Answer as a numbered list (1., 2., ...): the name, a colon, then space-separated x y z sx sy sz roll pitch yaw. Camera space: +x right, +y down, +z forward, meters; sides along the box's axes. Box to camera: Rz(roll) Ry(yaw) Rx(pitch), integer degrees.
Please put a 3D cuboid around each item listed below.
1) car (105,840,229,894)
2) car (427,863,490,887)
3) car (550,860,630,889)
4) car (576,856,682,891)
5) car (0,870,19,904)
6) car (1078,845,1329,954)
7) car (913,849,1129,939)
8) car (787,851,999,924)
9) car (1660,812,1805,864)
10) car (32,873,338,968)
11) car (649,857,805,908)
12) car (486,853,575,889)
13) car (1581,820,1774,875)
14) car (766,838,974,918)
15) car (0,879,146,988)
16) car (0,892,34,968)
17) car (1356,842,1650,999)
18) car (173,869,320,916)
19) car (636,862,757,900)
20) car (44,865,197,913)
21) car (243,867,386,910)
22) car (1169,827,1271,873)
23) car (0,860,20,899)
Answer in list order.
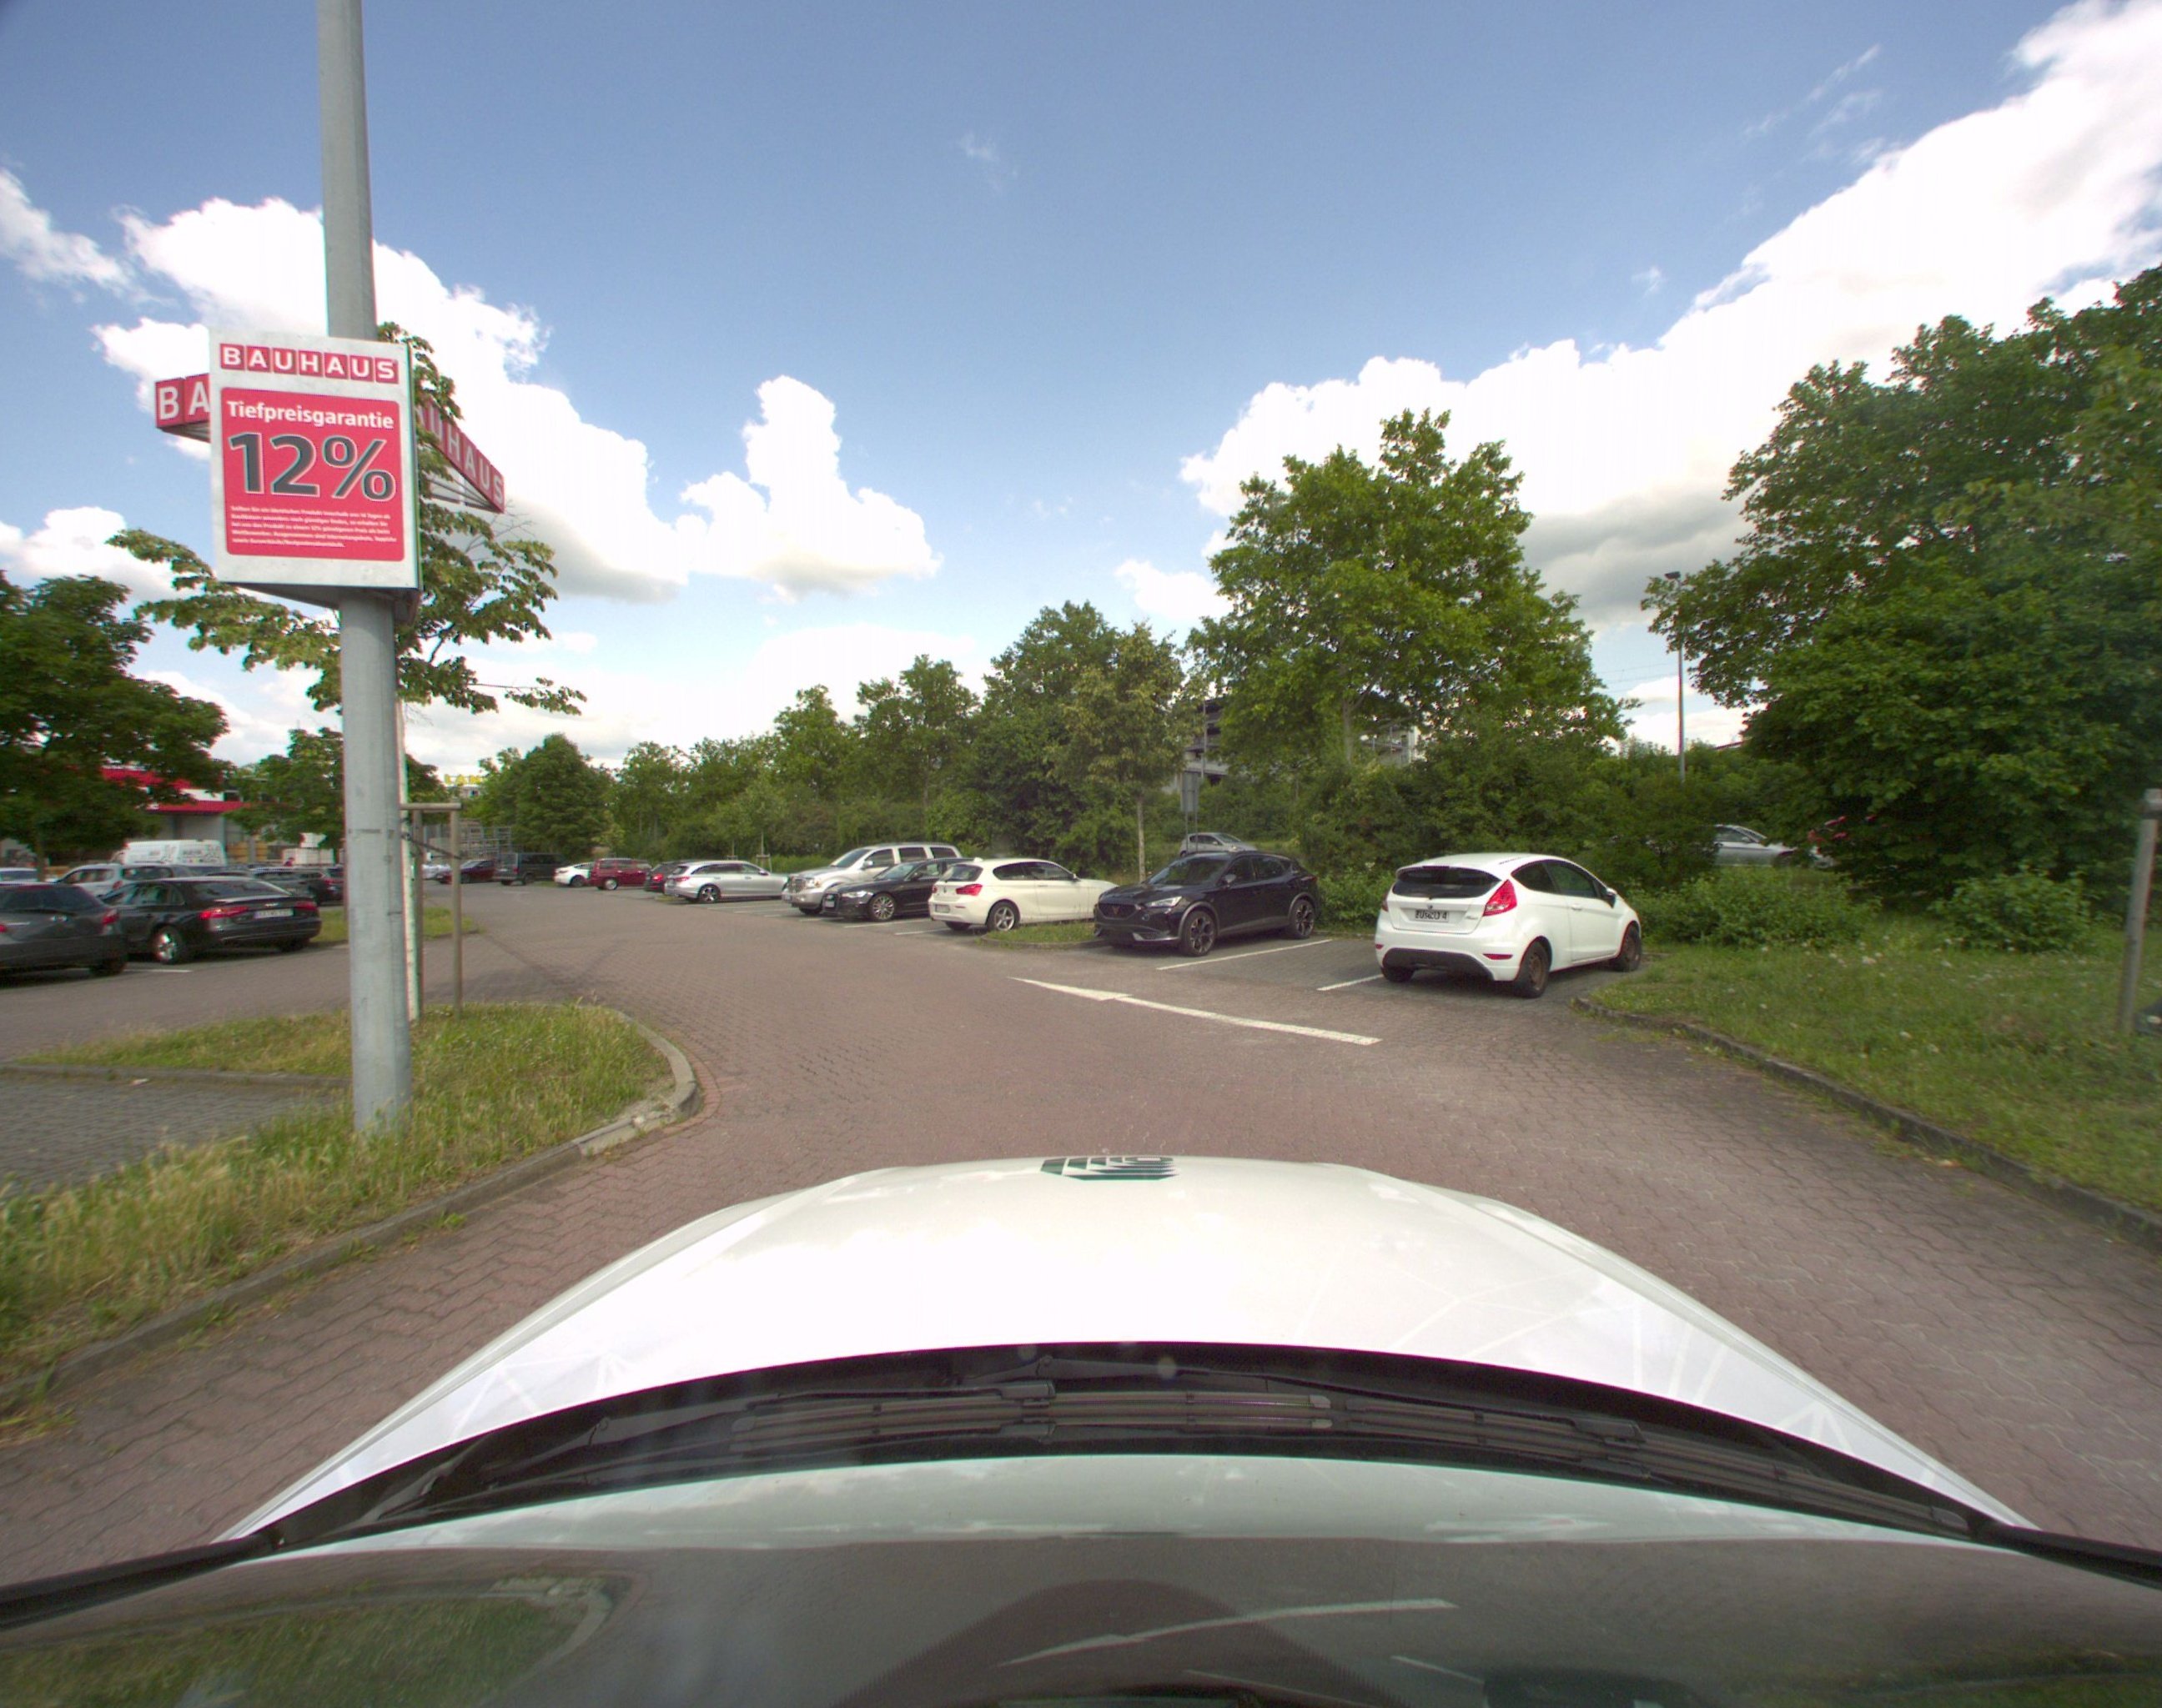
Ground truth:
1. car: -44.759 0.628 39.907 4.679 2.510 2.061 0 0 14
2. car: -38.027 1.299 49.803 1.338 1.432 2.704 -3 -3 22
3. car: -28.169 1.165 46.738 3.664 1.468 1.614 -2 -1 -42
4. car: -22.965 0.954 41.489 4.345 1.596 1.975 -2 1 -44
5. car: -46.578 1.406 33.831 3.589 1.405 1.548 -2 -2 12
6. car: 2.124 0.617 13.309 4.266 1.410 1.713 -2 1 -42
7. car: -1.132 0.730 16.536 4.102 1.509 1.671 -2 0 -39
8. car: -4.490 0.728 19.936 4.750 1.450 1.818 -2 1 -41
9. car: 24.360 -0.589 30.547 2.011 1.808 3.953 -2 1 -41
10. car: -15.885 1.133 14.478 4.493 1.432 1.779 -1 1 16
11. car: -12.375 0.930 28.660 4.680 1.504 1.763 -2 1 -42
12. car: -33.248 1.020 49.294 1.925 2.019 4.076 -2 -1 19
13. car: 18.652 -0.197 25.623 4.684 1.589 1.758 -1 1 45
14. car: -5.643 0.559 22.284 5.177 1.842 1.966 -2 1 -43
15. car: -16.125 1.116 11.807 3.960 1.369 1.585 -1 1 12
16. car: -21.471 1.410 14.508 4.026 1.352 1.799 -2 -3 11
17. car: 4.993 0.624 9.497 3.574 1.411 1.651 -2 1 -37
18. car: -29.128 1.331 28.474 3.738 1.446 1.730 -1 1 10
19. car: -15.292 1.058 32.500 4.022 1.381 1.678 0 -2 -43
20. car: -35.070 1.260 29.772 3.960 1.596 1.917 -1 1 12
21. car: -29.196 1.308 31.074 4.052 1.439 1.833 -1 1 10
22. car: 6.488 -0.113 38.435 1.929 2.014 4.440 1 -2 -44
23. car: -58.878 1.372 42.891 3.961 2.014 2.006 -2 -2 11
